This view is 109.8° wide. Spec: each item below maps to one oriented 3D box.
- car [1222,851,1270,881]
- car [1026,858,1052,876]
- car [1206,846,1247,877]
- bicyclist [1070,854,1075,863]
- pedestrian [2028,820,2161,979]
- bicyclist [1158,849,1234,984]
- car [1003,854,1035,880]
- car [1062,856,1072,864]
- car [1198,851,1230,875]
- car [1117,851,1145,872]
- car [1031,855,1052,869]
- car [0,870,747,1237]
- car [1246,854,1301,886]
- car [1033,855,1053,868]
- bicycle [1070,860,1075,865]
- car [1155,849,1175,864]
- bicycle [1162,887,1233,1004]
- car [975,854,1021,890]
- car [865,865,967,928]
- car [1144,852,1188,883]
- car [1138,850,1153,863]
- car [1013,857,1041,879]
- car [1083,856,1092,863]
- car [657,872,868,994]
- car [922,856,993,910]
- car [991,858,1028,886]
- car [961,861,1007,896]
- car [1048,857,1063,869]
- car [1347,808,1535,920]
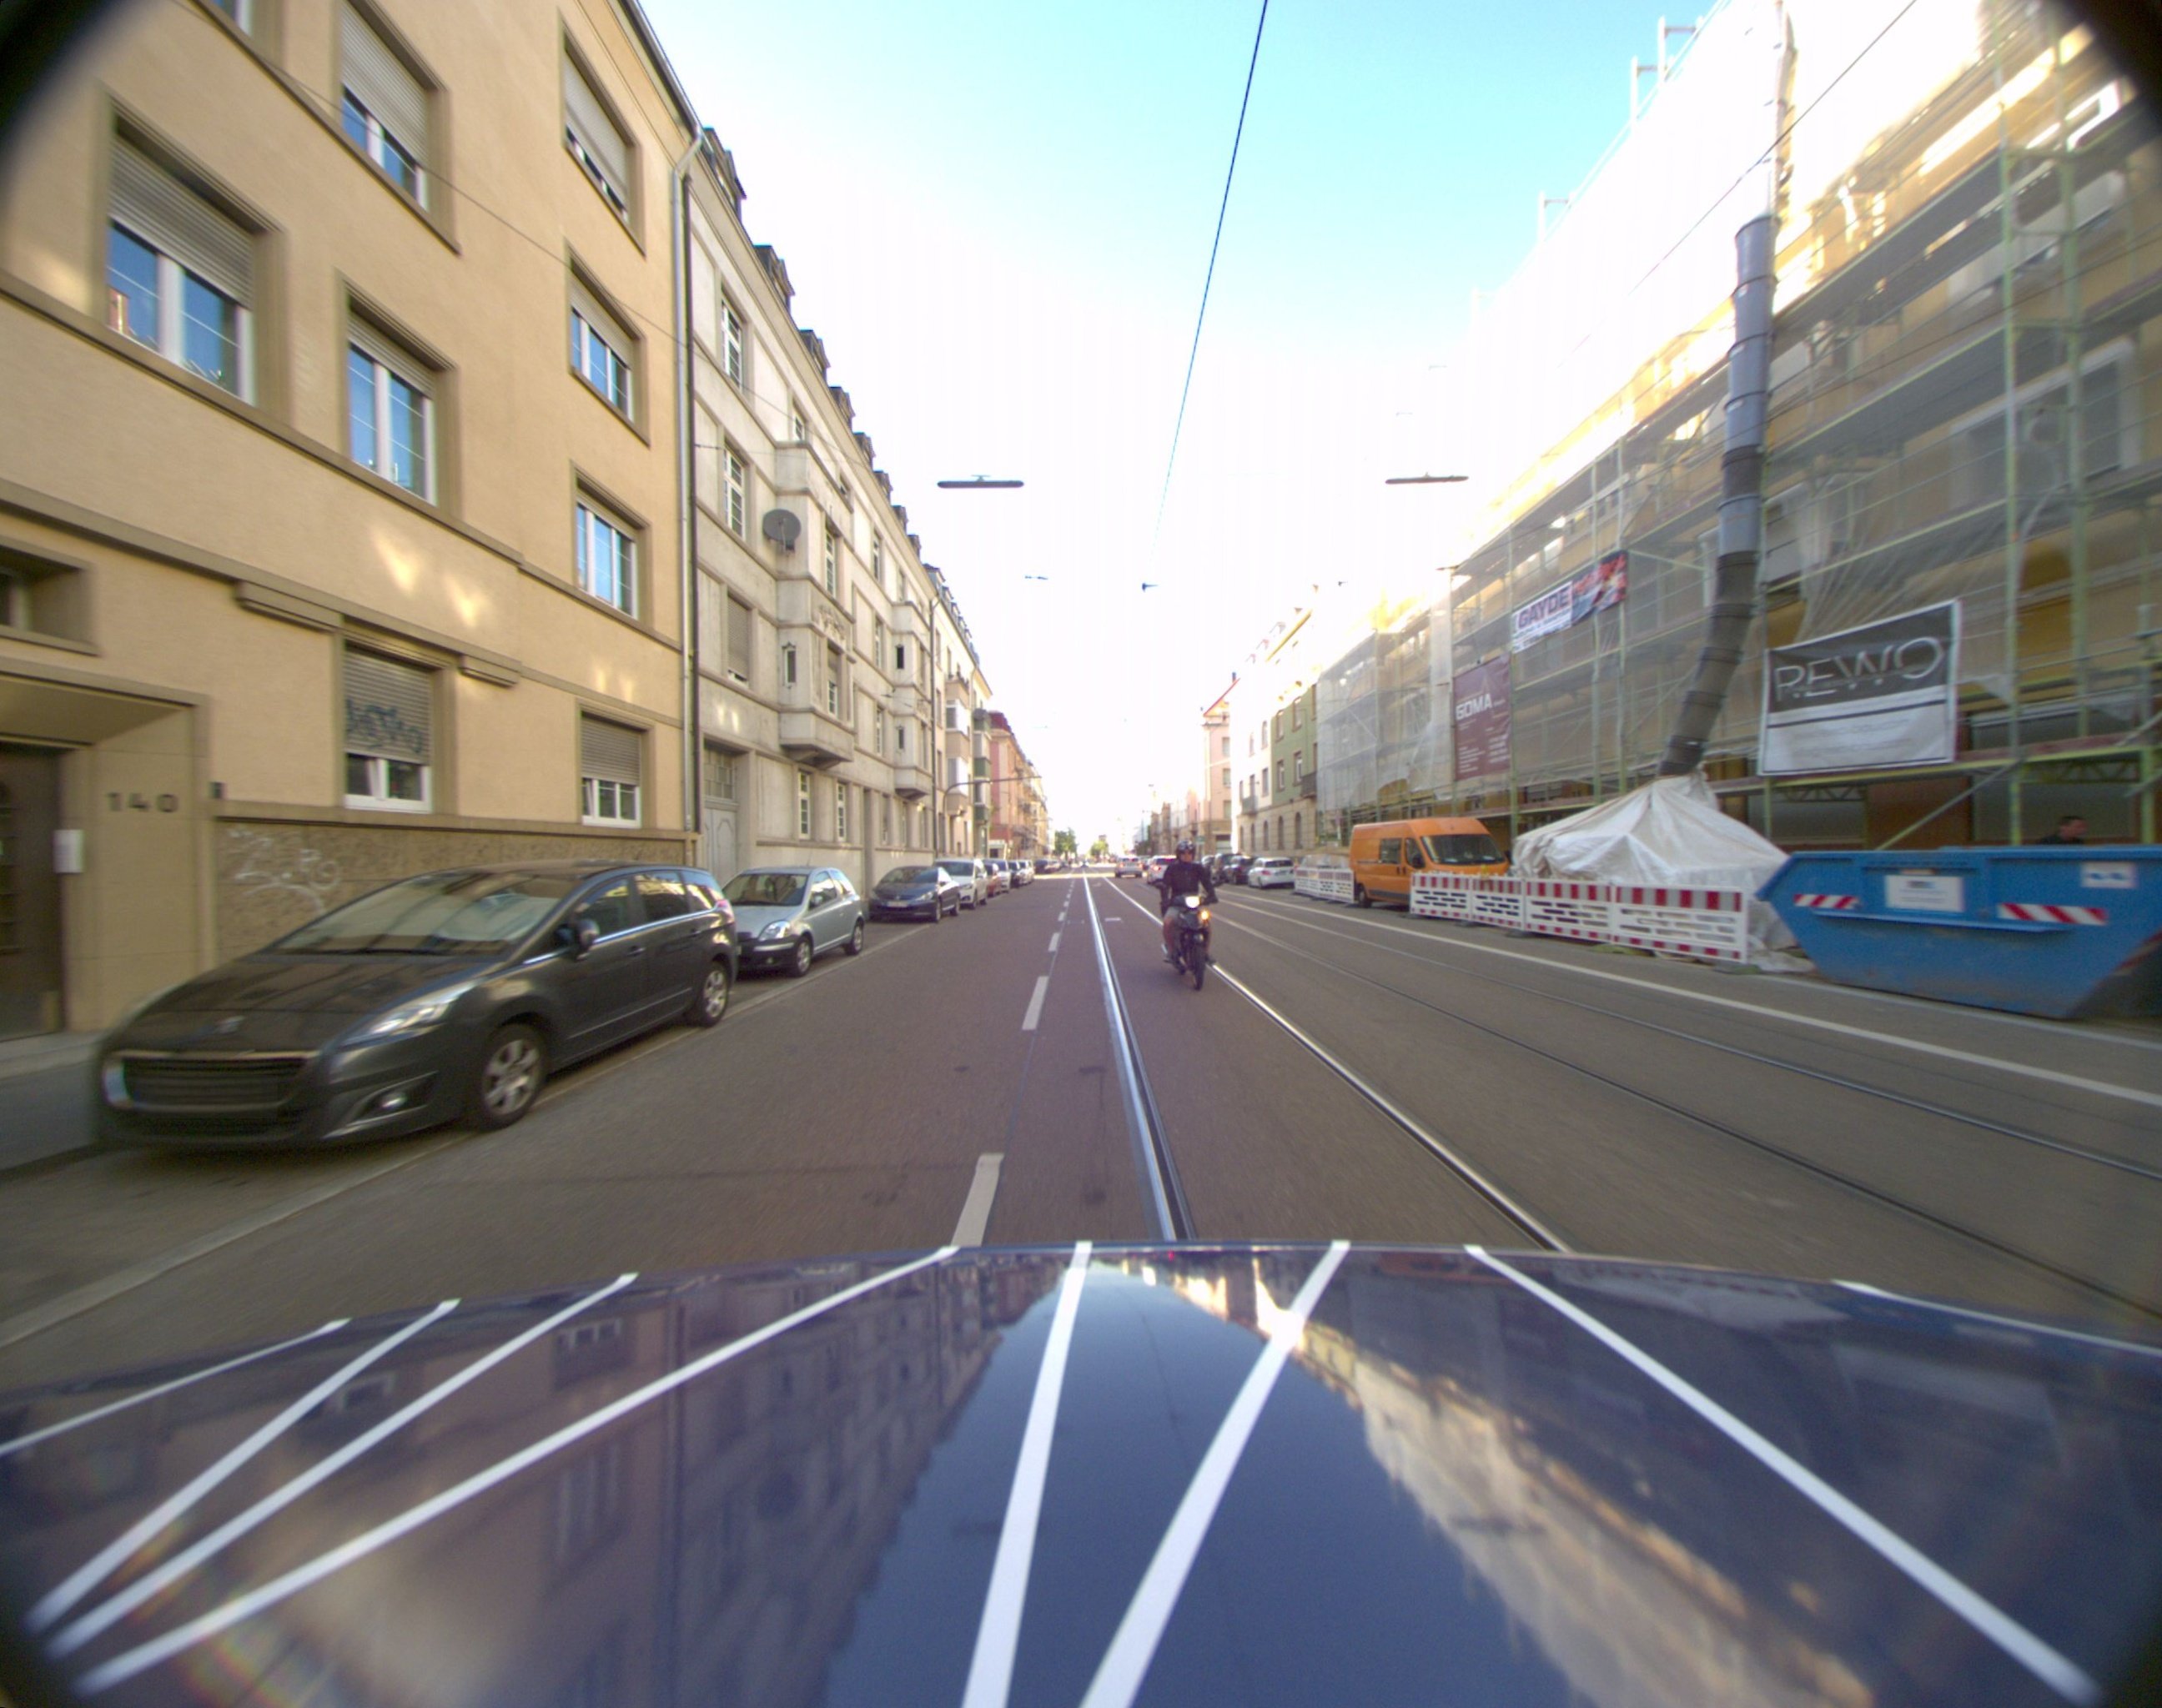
[{"bbox_3d":[9.436,0.656,43.681,1.702,1.569,4.222,-3,0,-1],"label":"car"},{"bbox_3d":[-3.538,1.084,64.372,1.702,1.465,3.780,1,0,3],"label":"car"},{"bbox_3d":[9.472,0.488,49.641,1.798,1.836,3.769,-3,0,-1],"label":"car"},{"bbox_3d":[-1.381,0.743,120.849,0.744,1.481,0.816,-1,1,-1],"label":"bicyclist"},{"bbox_3d":[11.266,0.482,8.445,0.582,1.684,0.717,-1,1,0],"label":"pedestrian"},{"bbox_3d":[1.369,0.723,9.196,0.843,1.545,0.850,-1,1,6],"label":"bicyclist"},{"bbox_3d":[-3.992,0.796,49.490,1.703,1.581,3.960,-1,0,0],"label":"car"},{"bbox_3d":[-3.081,1.314,167.320,1.998,1.674,4.000,-1,0,0],"label":"car"},{"bbox_3d":[9.516,0.599,54.644,1.798,1.601,3.770,-1,0,3],"label":"car"},{"bbox_3d":[3.834,0.557,58.889,1.772,1.598,4.293,-1,0,0],"label":"car"},{"bbox_3d":[-4.134,0.857,80.116,1.998,1.412,3.727,-1,0,1],"label":"car"},{"bbox_3d":[-4.386,0.996,5.815,1.794,1.642,4.366,0,0,-1],"label":"car"},{"bbox_3d":[9.493,0.750,37.732,1.751,1.502,4.000,-1,0,1],"label":"car"},{"bbox_3d":[-4.204,0.821,84.417,1.998,1.412,3.727,-1,0,1],"label":"car"},{"bbox_3d":[-1.386,1.329,120.740,0.744,0.850,1.885,-1,0,-1],"label":"bicycle"},{"bbox_3d":[9.433,0.264,85.486,1.798,1.494,3.769,-3,0,-1],"label":"car"},{"bbox_3d":[1.370,1.036,9.227,0.740,1.170,1.975,-1,0,6],"label":"bicycle"},{"bbox_3d":[-4.165,0.870,38.704,1.702,1.688,4.188,0,0,3],"label":"car"},{"bbox_3d":[-4.294,1.055,20.419,1.703,1.444,4.206,0,0,2],"label":"car"},{"bbox_3d":[4.735,0.704,42.822,1.825,1.559,4.200,-3,0,-2],"label":"car"},{"bbox_3d":[9.843,0.382,115.734,1.998,2.002,4.000,-1,0,0],"label":"car"},{"bbox_3d":[-3.950,1.009,56.027,1.702,1.581,3.355,1,0,3],"label":"car"},{"bbox_3d":[1.513,1.238,169.035,1.998,1.586,4.000,-1,0,0],"label":"car"},{"bbox_3d":[-4.496,1.036,11.296,1.612,1.454,3.479,0,0,1],"label":"car"},{"bbox_3d":[-4.176,0.940,26.385,1.713,1.683,4.589,0,0,0],"label":"car"},{"bbox_3d":[-4.148,0.989,44.373,1.703,1.496,3.863,-1,0,1],"label":"car"},{"bbox_3d":[-4.339,1.078,34.444,1.570,1.475,3.365,1,0,2],"label":"car"},{"bbox_3d":[-3.668,1.284,110.116,1.998,1.630,4.000,-1,0,1],"label":"car"},{"bbox_3d":[9.025,0.220,19.820,2.125,2.455,6.000,-1,0,1],"label":"car"}]
